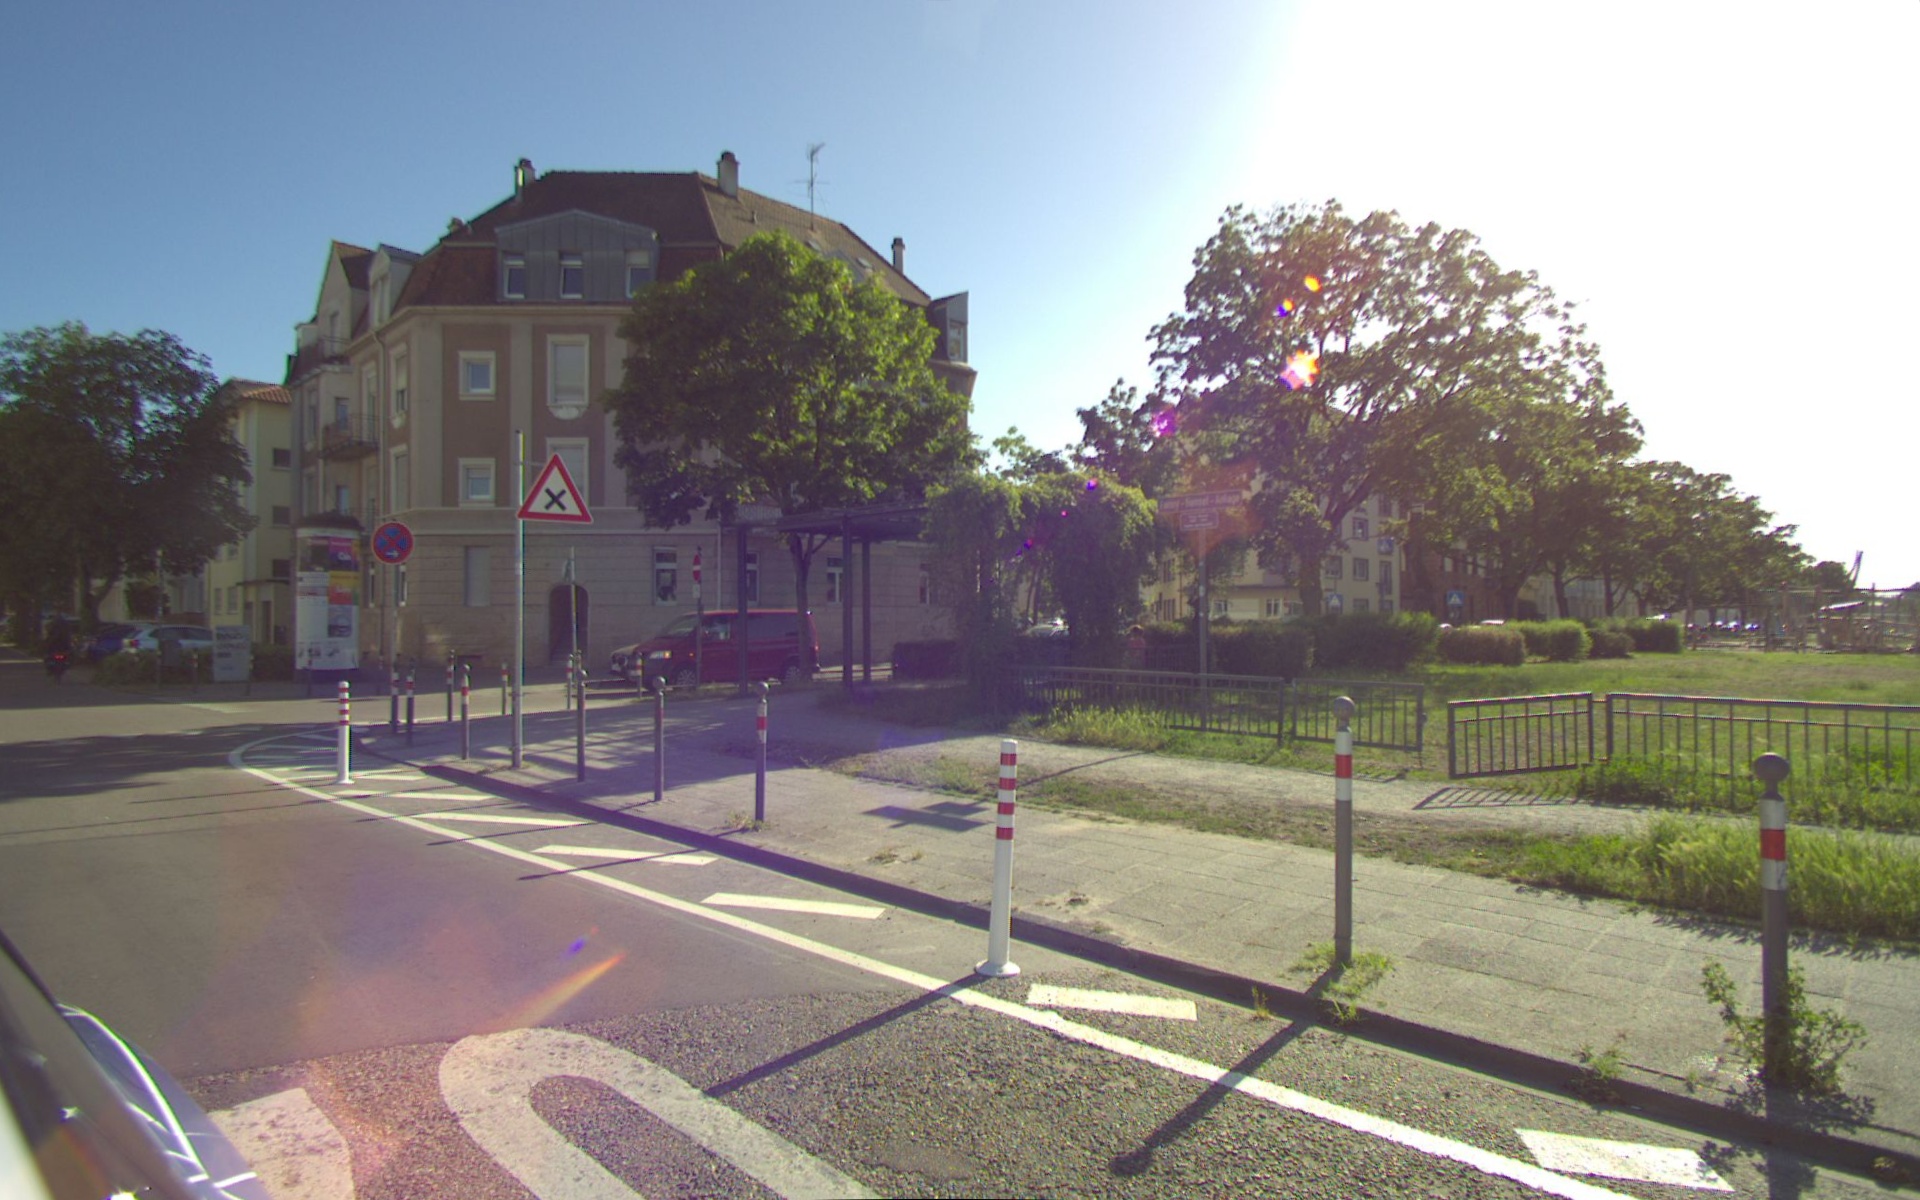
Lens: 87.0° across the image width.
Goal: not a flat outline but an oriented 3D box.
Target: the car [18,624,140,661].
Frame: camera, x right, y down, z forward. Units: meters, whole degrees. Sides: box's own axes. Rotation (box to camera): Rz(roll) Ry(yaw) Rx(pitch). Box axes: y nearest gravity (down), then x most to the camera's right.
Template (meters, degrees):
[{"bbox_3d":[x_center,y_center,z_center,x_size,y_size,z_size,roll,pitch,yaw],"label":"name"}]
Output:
[{"bbox_3d":[-38.800,1.851,44.631,1.686,1.506,3.751,-1,-1,31],"label":"car"}]

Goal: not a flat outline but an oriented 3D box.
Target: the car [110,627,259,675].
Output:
[{"bbox_3d":[-26.035,1.670,34.070,1.691,1.455,3.739,-1,-1,41],"label":"car"}]

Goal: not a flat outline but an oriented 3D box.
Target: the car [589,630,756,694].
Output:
[{"bbox_3d":[-7.704,1.614,27.403,1.867,1.494,3.960,3,1,41],"label":"car"}]

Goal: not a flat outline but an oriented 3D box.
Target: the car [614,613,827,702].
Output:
[{"bbox_3d":[-5.851,1.344,25.133,4.811,1.975,1.899,2,-1,-42],"label":"car"}]

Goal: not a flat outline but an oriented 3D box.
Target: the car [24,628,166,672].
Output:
[{"bbox_3d":[-32.459,1.843,38.086,1.686,1.506,3.751,-1,-1,31],"label":"car"}]

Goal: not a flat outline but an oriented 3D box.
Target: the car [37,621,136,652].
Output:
[{"bbox_3d":[-46.286,1.907,53.680,1.690,1.506,3.742,-1,-1,39],"label":"car"}]

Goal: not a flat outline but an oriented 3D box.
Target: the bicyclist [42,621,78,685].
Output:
[{"bbox_3d":[-23.248,1.357,26.128,0.635,1.632,0.637,1,-2,-45],"label":"bicyclist"}]

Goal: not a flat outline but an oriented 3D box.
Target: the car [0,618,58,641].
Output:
[{"bbox_3d":[-72.891,2.307,79.046,1.692,1.716,3.481,-1,-1,42],"label":"car"}]

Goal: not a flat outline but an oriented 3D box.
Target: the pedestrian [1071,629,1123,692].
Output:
[{"bbox_3d":[2.595,1.131,19.192,0.833,1.158,0.599,2,-3,-45],"label":"pedestrian"}]

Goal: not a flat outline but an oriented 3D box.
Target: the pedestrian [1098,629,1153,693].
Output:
[{"bbox_3d":[3.064,1.115,18.698,0.862,1.147,0.599,2,-3,-45],"label":"pedestrian"}]

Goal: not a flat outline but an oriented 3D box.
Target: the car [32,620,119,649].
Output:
[{"bbox_3d":[-49.524,1.927,56.705,1.690,1.506,3.484,-1,-1,39],"label":"car"}]

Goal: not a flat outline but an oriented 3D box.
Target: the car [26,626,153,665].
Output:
[{"bbox_3d":[-36.650,1.891,42.678,1.686,1.506,3.751,-1,-1,31],"label":"car"}]

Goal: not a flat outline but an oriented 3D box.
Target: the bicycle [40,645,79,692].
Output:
[{"bbox_3d":[-23.243,1.743,26.117,0.635,1.117,2.066,1,-2,-44],"label":"bicycle"}]

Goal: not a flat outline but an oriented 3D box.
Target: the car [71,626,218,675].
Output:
[{"bbox_3d":[-28.147,1.705,35.019,1.691,1.506,3.739,-1,-1,41],"label":"car"}]
